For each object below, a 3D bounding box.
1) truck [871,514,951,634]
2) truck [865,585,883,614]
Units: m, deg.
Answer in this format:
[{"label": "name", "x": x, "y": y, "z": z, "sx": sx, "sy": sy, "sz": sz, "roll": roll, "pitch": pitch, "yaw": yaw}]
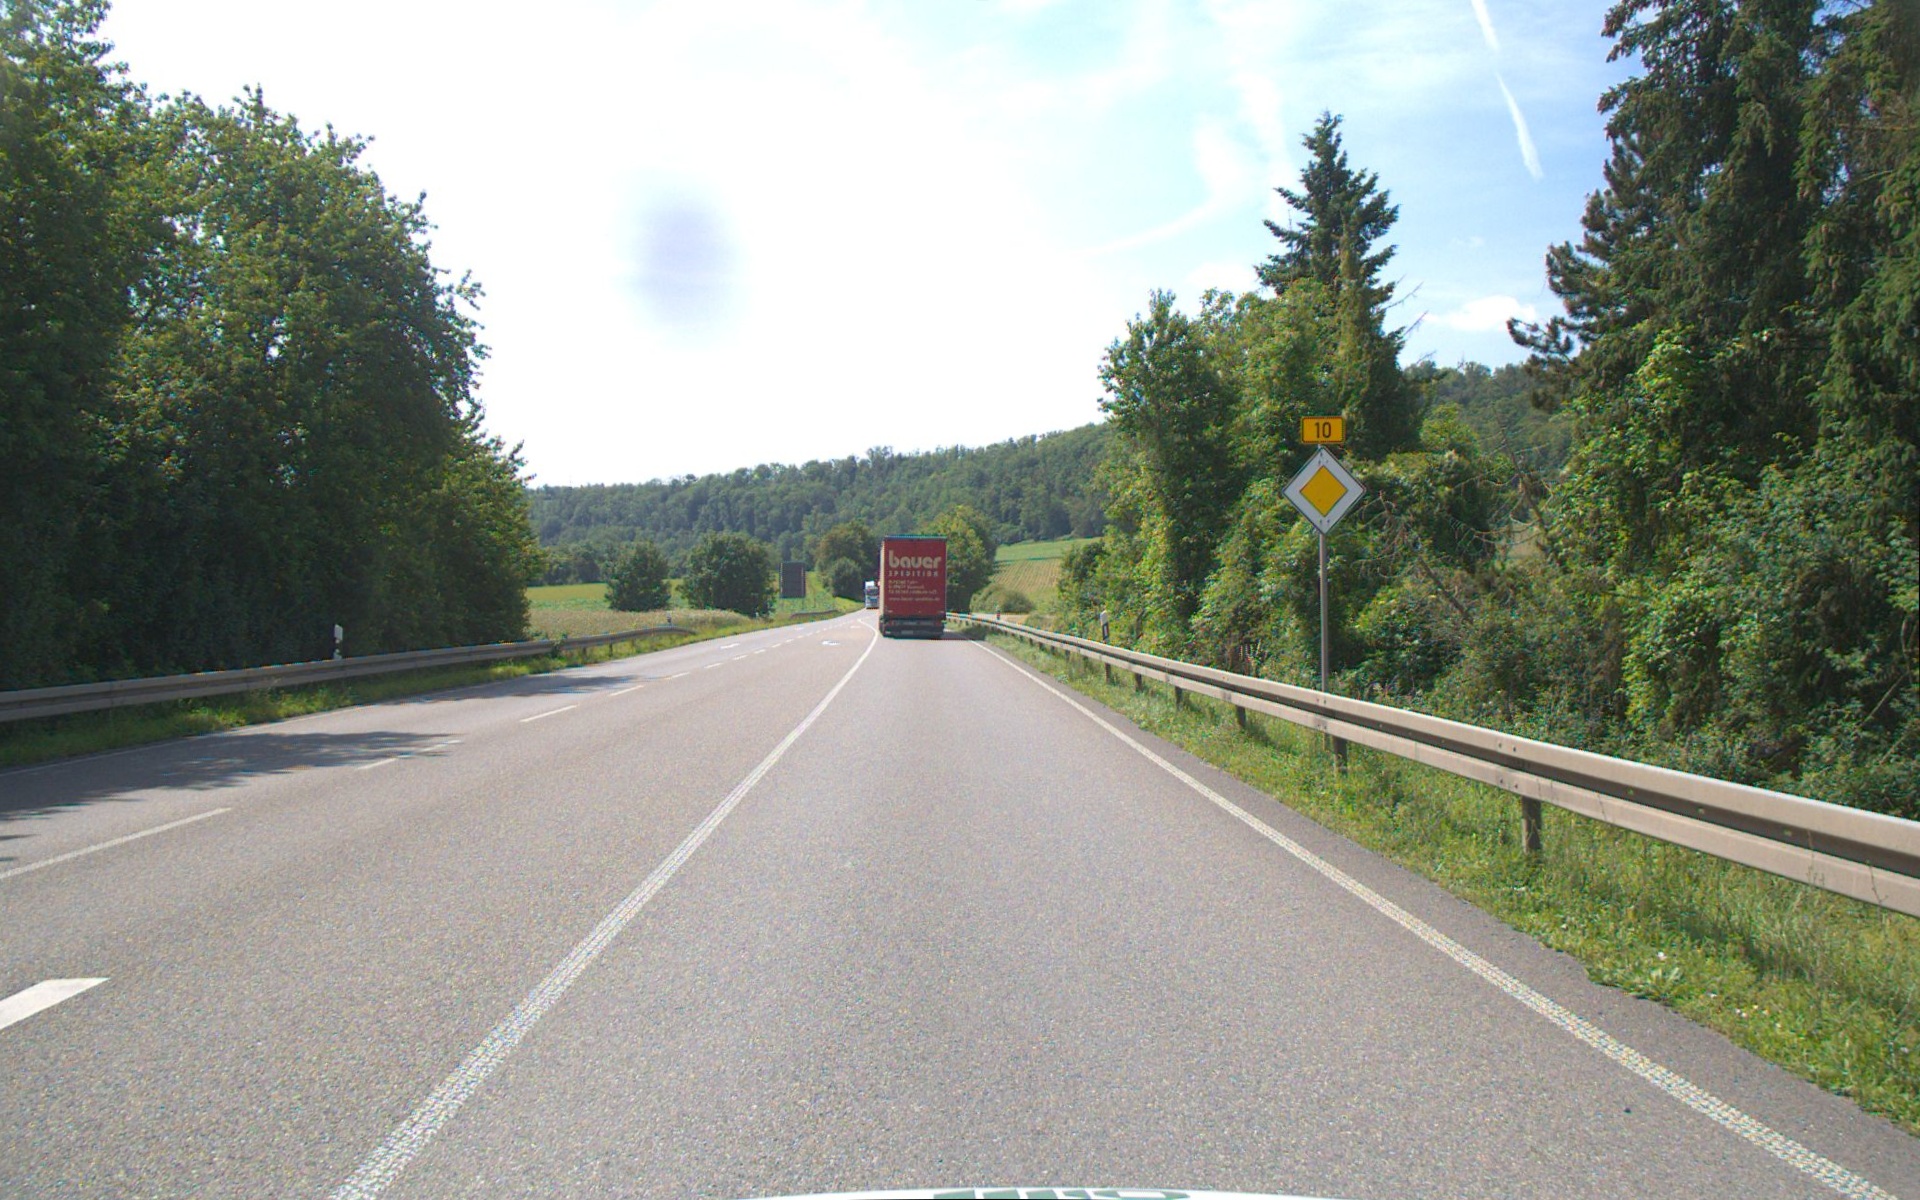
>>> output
[{"label": "truck", "x": -2.216, "y": -1.049, "z": 71.752, "sx": 3.109, "sy": 4.706, "sz": 13.537, "roll": 0, "pitch": 0, "yaw": -2}, {"label": "truck", "x": -12.862, "y": -0.124, "z": 248.154, "sx": 2.479, "sy": 4.192, "sz": 6.019, "roll": -2, "pitch": 0, "yaw": -1}]
